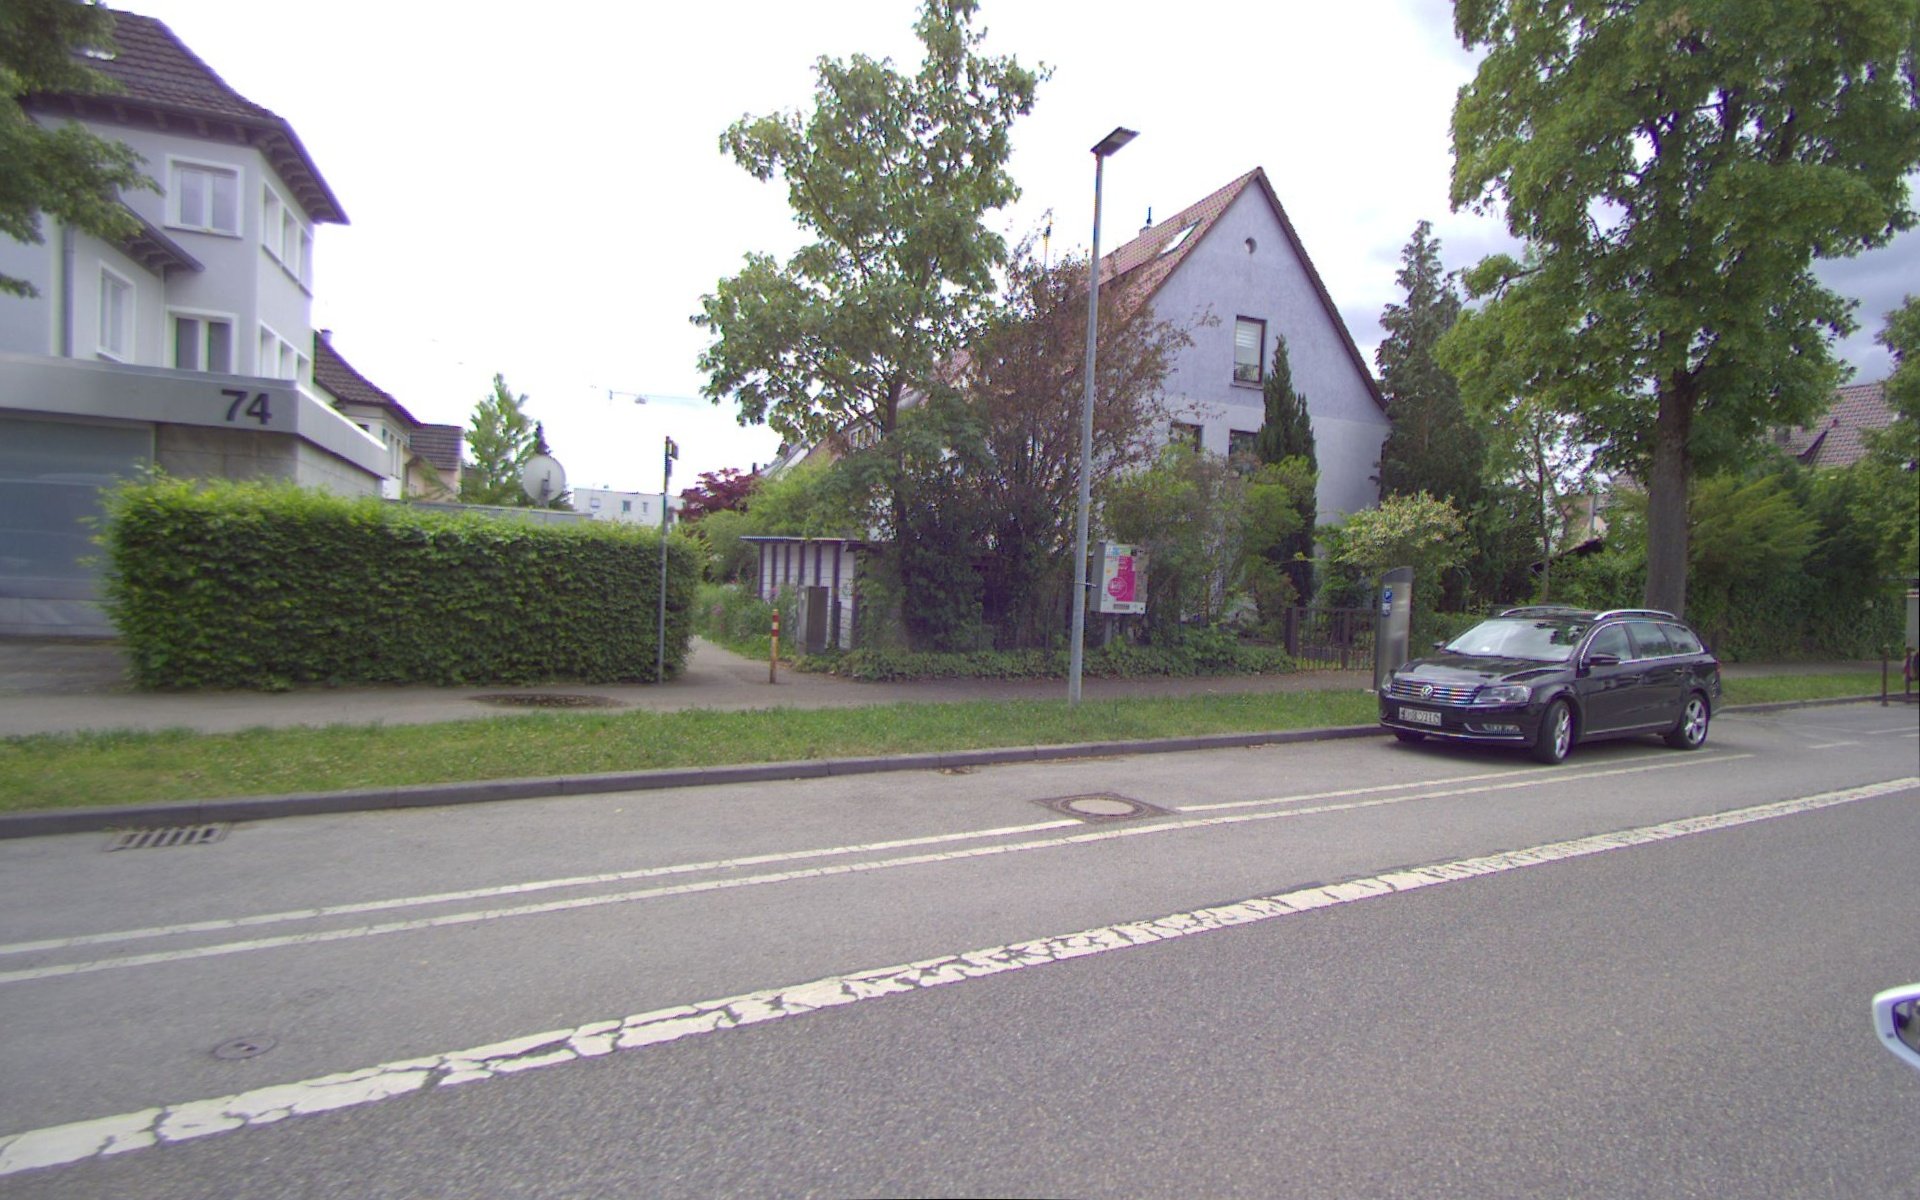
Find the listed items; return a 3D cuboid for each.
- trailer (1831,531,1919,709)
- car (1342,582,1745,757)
[{"bbox_3d":[19.328,0.475,18.623,7.393,2.980,2.659,2,1,-32],"label":"trailer"},{"bbox_3d":[6.563,0.742,11.161,4.568,1.573,1.850,4,0,-31],"label":"car"}]
